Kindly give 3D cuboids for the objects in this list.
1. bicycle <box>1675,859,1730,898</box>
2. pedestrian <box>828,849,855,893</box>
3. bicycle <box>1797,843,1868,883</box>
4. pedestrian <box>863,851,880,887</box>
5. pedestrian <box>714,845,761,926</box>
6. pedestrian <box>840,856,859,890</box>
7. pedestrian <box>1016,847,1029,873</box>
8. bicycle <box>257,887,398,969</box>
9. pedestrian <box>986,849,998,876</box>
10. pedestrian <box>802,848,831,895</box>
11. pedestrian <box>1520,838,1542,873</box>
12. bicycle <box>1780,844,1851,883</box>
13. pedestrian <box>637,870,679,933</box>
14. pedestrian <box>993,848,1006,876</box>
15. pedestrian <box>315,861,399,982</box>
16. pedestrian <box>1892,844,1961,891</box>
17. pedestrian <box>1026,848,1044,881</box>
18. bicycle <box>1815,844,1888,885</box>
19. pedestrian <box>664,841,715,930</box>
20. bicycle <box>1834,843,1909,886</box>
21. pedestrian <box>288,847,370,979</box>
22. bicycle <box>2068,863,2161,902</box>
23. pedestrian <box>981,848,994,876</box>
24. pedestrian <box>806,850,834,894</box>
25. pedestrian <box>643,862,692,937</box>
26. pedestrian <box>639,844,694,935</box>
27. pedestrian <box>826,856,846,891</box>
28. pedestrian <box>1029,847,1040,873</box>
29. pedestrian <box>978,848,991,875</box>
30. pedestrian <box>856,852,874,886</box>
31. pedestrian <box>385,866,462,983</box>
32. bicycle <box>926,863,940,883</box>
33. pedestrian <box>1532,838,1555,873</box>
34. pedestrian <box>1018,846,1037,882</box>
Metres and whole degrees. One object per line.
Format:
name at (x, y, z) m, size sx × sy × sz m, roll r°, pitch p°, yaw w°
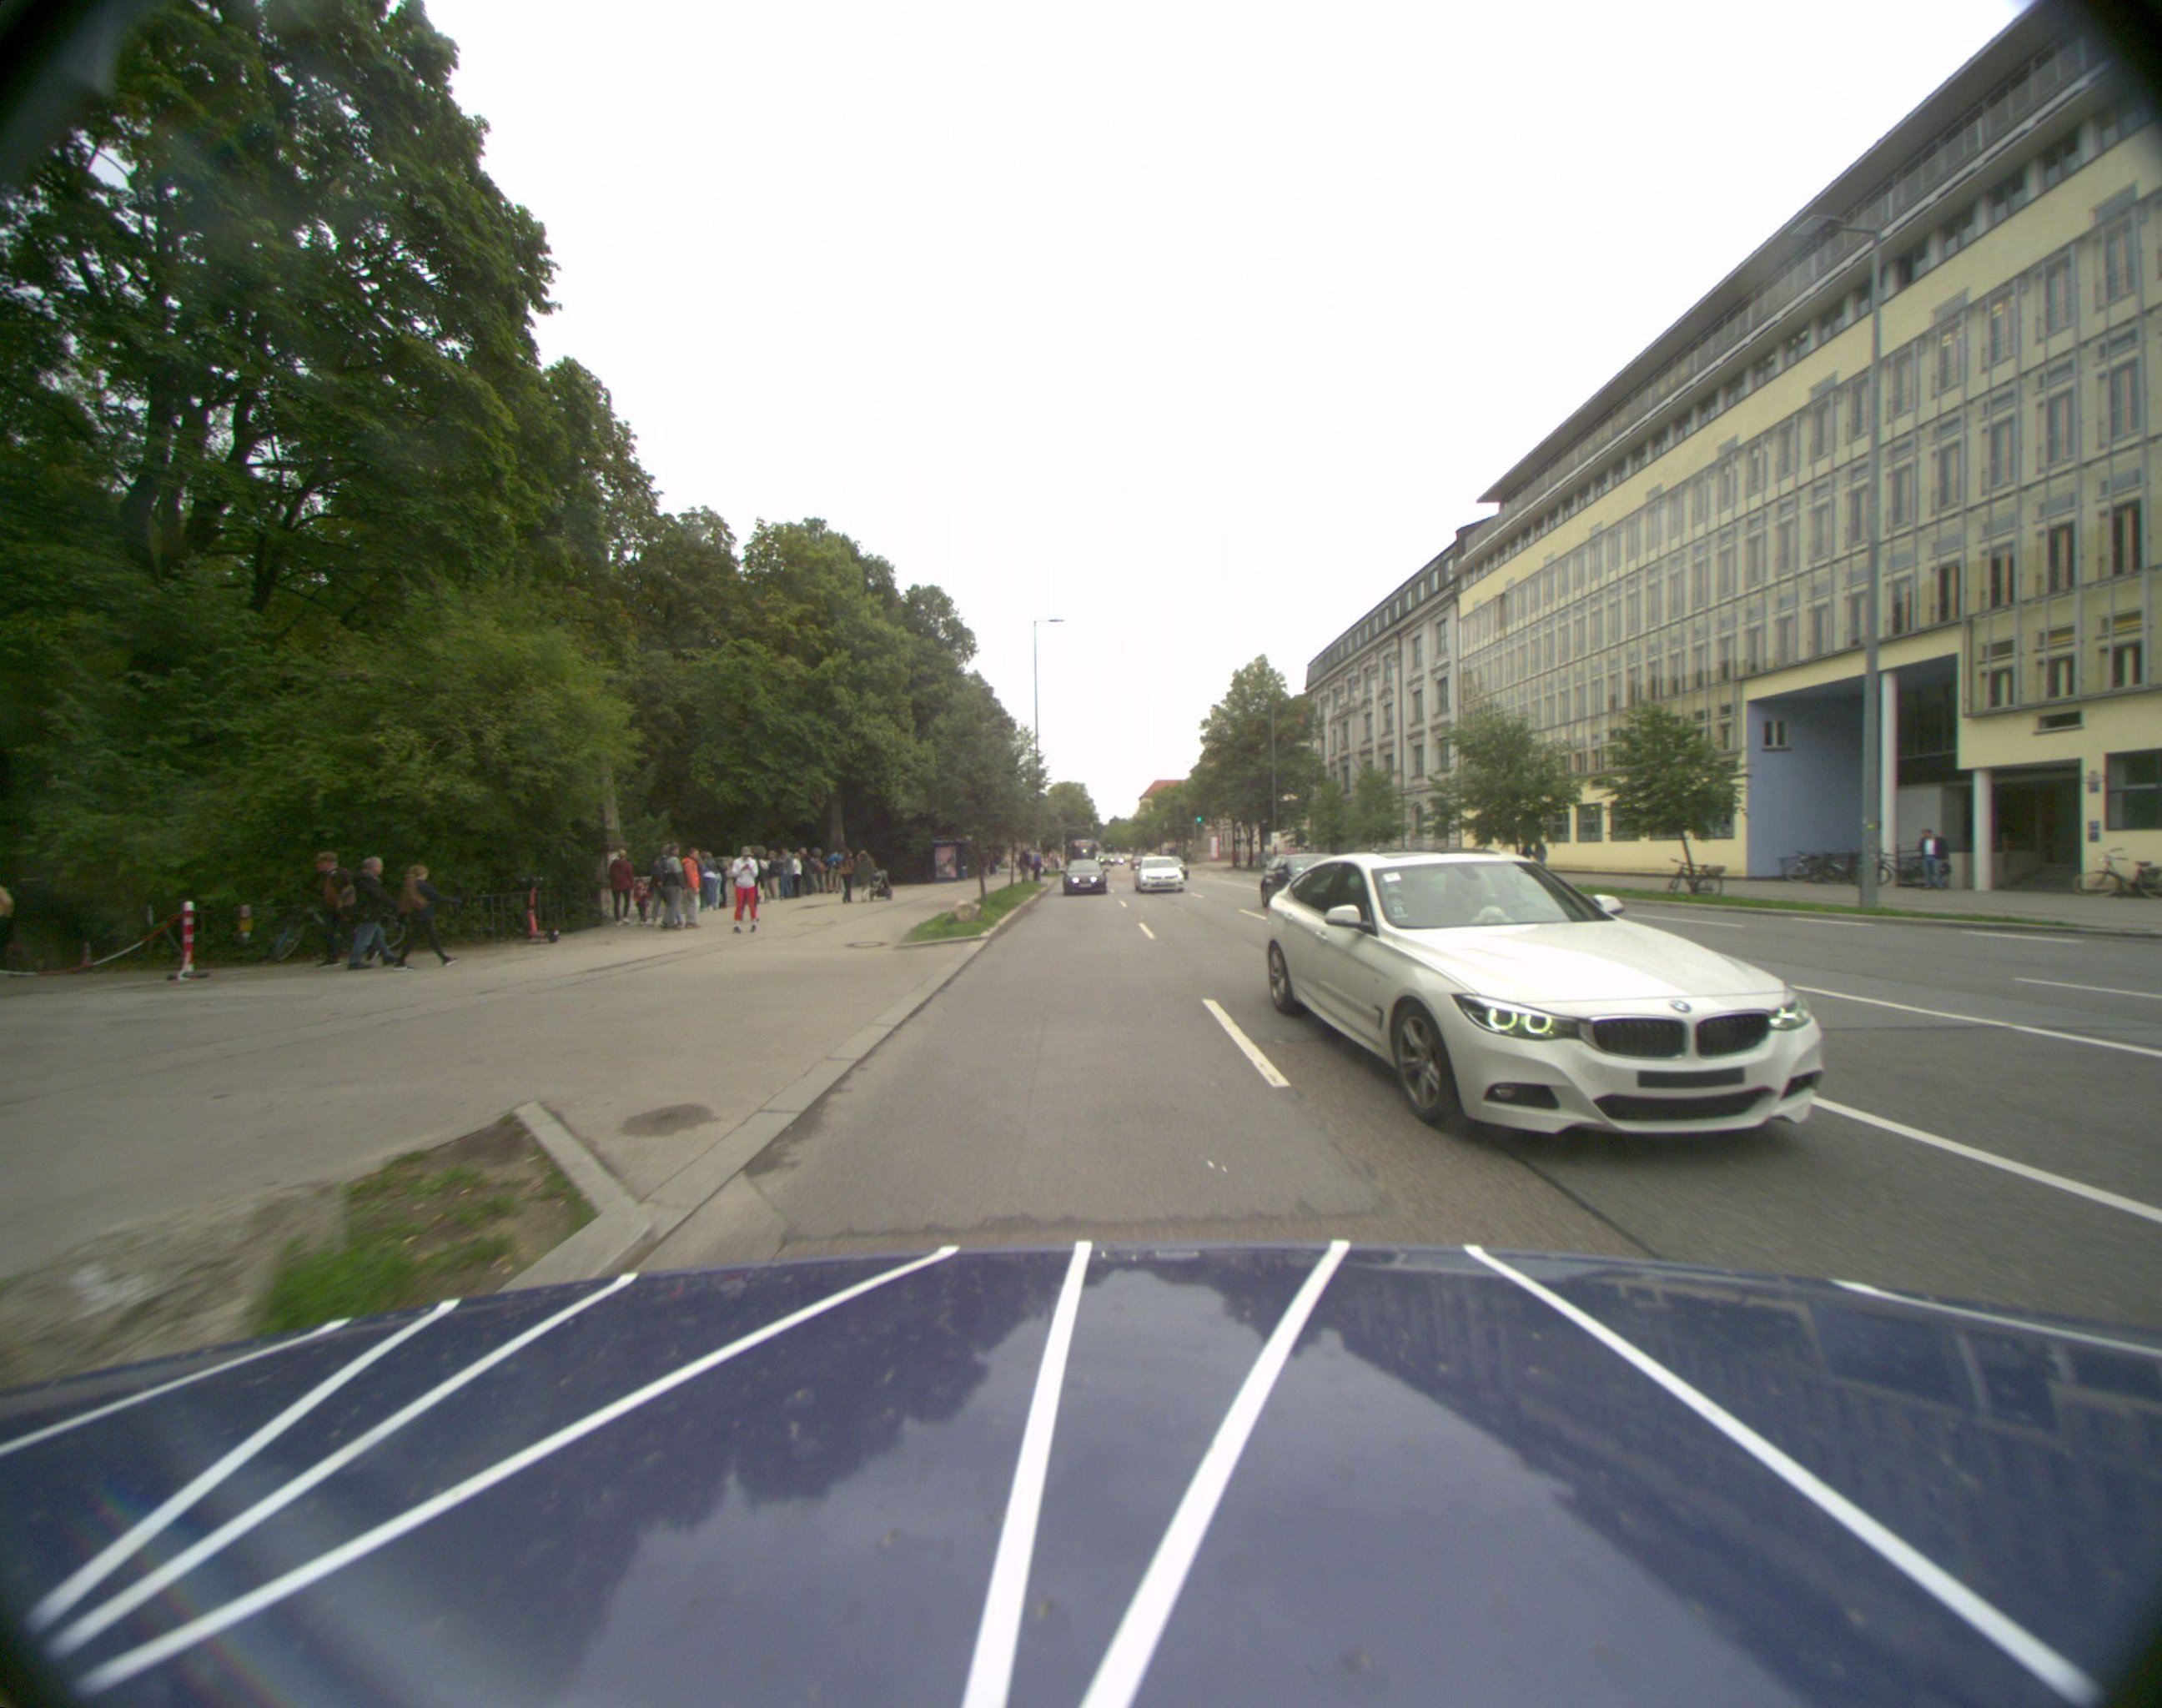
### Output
bicycle at (16.900, 0.652, 20.704) m, size 0.281 × 1.007 × 1.384 m, roll -2°, pitch 1°, yaw -3°
pedestrian at (-10.138, 0.719, 32.137) m, size 0.814 × 1.818 × 0.729 m, roll -2°, pitch 1°, yaw 3°
bicycle at (26.222, 0.312, 26.530) m, size 2.014 × 1.311 × 0.574 m, roll -2°, pitch 1°, yaw -5°
pedestrian at (-10.455, 0.735, 37.907) m, size 0.637 × 1.757 × 0.533 m, roll -2°, pitch 1°, yaw 3°
pedestrian at (-8.059, 0.733, 17.849) m, size 0.610 × 1.862 × 0.694 m, roll -2°, pitch 1°, yaw 17°
pedestrian at (-10.451, 0.844, 34.318) m, size 0.637 × 1.499 × 0.533 m, roll -2°, pitch 1°, yaw 3°
pedestrian at (-4.216, 0.402, 54.915) m, size 0.753 × 1.828 × 0.756 m, roll -2°, pitch 1°, yaw 1°
bicycle at (-12.659, 1.223, 12.815) m, size 1.602 × 1.232 × 0.391 m, roll -3°, pitch 1°, yaw -27°
pedestrian at (-6.119, 0.588, 52.229) m, size 0.710 × 1.798 × 0.639 m, roll -2°, pitch 1°, yaw 0°
pedestrian at (-10.670, 0.707, 30.696) m, size 0.814 × 1.841 × 0.729 m, roll -2°, pitch 1°, yaw 3°
pedestrian at (23.469, 0.078, 39.616) m, size 0.617 × 1.766 × 0.836 m, roll -2°, pitch 1°, yaw 1°
bicycle at (26.278, 0.333, 27.203) m, size 2.014 × 1.311 × 0.638 m, roll -2°, pitch 1°, yaw -5°
pedestrian at (-9.280, 1.033, 16.694) m, size 0.459 × 1.319 × 0.648 m, roll -2°, pitch 1°, yaw 5°
pedestrian at (-5.703, 0.559, 53.190) m, size 0.710 × 1.904 × 0.956 m, roll -2°, pitch 1°, yaw 0°
pedestrian at (-10.339, 0.931, 10.873) m, size 0.694 × 1.642 × 0.610 m, roll -3°, pitch 1°, yaw -32°
pedestrian at (25.240, 0.398, 22.706) m, size 0.839 × 1.356 × 1.086 m, roll -1°, pitch 0°, yaw 0°
pedestrian at (-2.535, 0.584, 41.968) m, size 0.637 × 1.798 × 0.711 m, roll -2°, pitch 1°, yaw 37°
bicycle at (26.268, 0.345, 25.916) m, size 2.014 × 1.311 × 0.574 m, roll -2°, pitch 1°, yaw -5°
pedestrian at (-8.605, 0.675, 16.726) m, size 0.610 × 1.903 × 0.694 m, roll -2°, pitch 1°, yaw 17°
bicycle at (26.310, 0.341, 25.297) m, size 2.014 × 1.311 × 0.574 m, roll -2°, pitch 1°, yaw -5°
pedestrian at (-11.169, 0.851, 11.307) m, size 0.694 × 1.862 × 0.610 m, roll -3°, pitch 1°, yaw -34°
bicycle at (25.118, 0.665, 18.303) m, size 0.478 × 0.872 × 1.737 m, roll -1°, pitch 0°, yaw 4°
pedestrian at (-6.429, 0.527, 52.214) m, size 0.710 × 1.904 × 0.956 m, roll -2°, pitch 1°, yaw 0°
pedestrian at (-10.780, 0.744, 31.377) m, size 0.814 × 1.757 × 0.729 m, roll -2°, pitch 1°, yaw 3°
pedestrian at (-8.628, 0.938, 15.871) m, size 0.550 × 1.518 × 0.648 m, roll -2°, pitch 1°, yaw 5°
pedestrian at (-8.672, 0.736, 15.921) m, size 0.610 × 1.862 × 0.694 m, roll -2°, pitch 1°, yaw 17°
pedestrian at (-10.862, 0.864, 33.702) m, size 0.637 × 1.499 × 0.533 m, roll -2°, pitch 1°, yaw 3°
pedestrian at (-3.388, 0.443, 54.965) m, size 0.672 × 1.828 × 0.641 m, roll -2°, pitch 1°, yaw 1°
pedestrian at (-6.706, 0.511, 53.065) m, size 0.710 × 1.798 × 0.950 m, roll -2°, pitch 1°, yaw 0°
pedestrian at (-10.595, 0.731, 37.238) m, size 0.637 × 1.617 × 0.533 m, roll -2°, pitch 1°, yaw 3°
pedestrian at (-9.355, 0.973, 10.834) m, size 0.694 × 1.568 × 0.610 m, roll -3°, pitch 1°, yaw -34°
bicycle at (-8.328, 1.065, 42.788) m, size 0.394 × 1.054 × 1.576 m, roll -2°, pitch 0°, yaw 0°
pedestrian at (24.123, 0.067, 39.633) m, size 0.617 × 1.766 × 0.836 m, roll -2°, pitch 1°, yaw 1°
pedestrian at (-2.841, 0.526, 40.501) m, size 0.804 × 1.870 × 0.545 m, roll -2°, pitch 1°, yaw 37°
